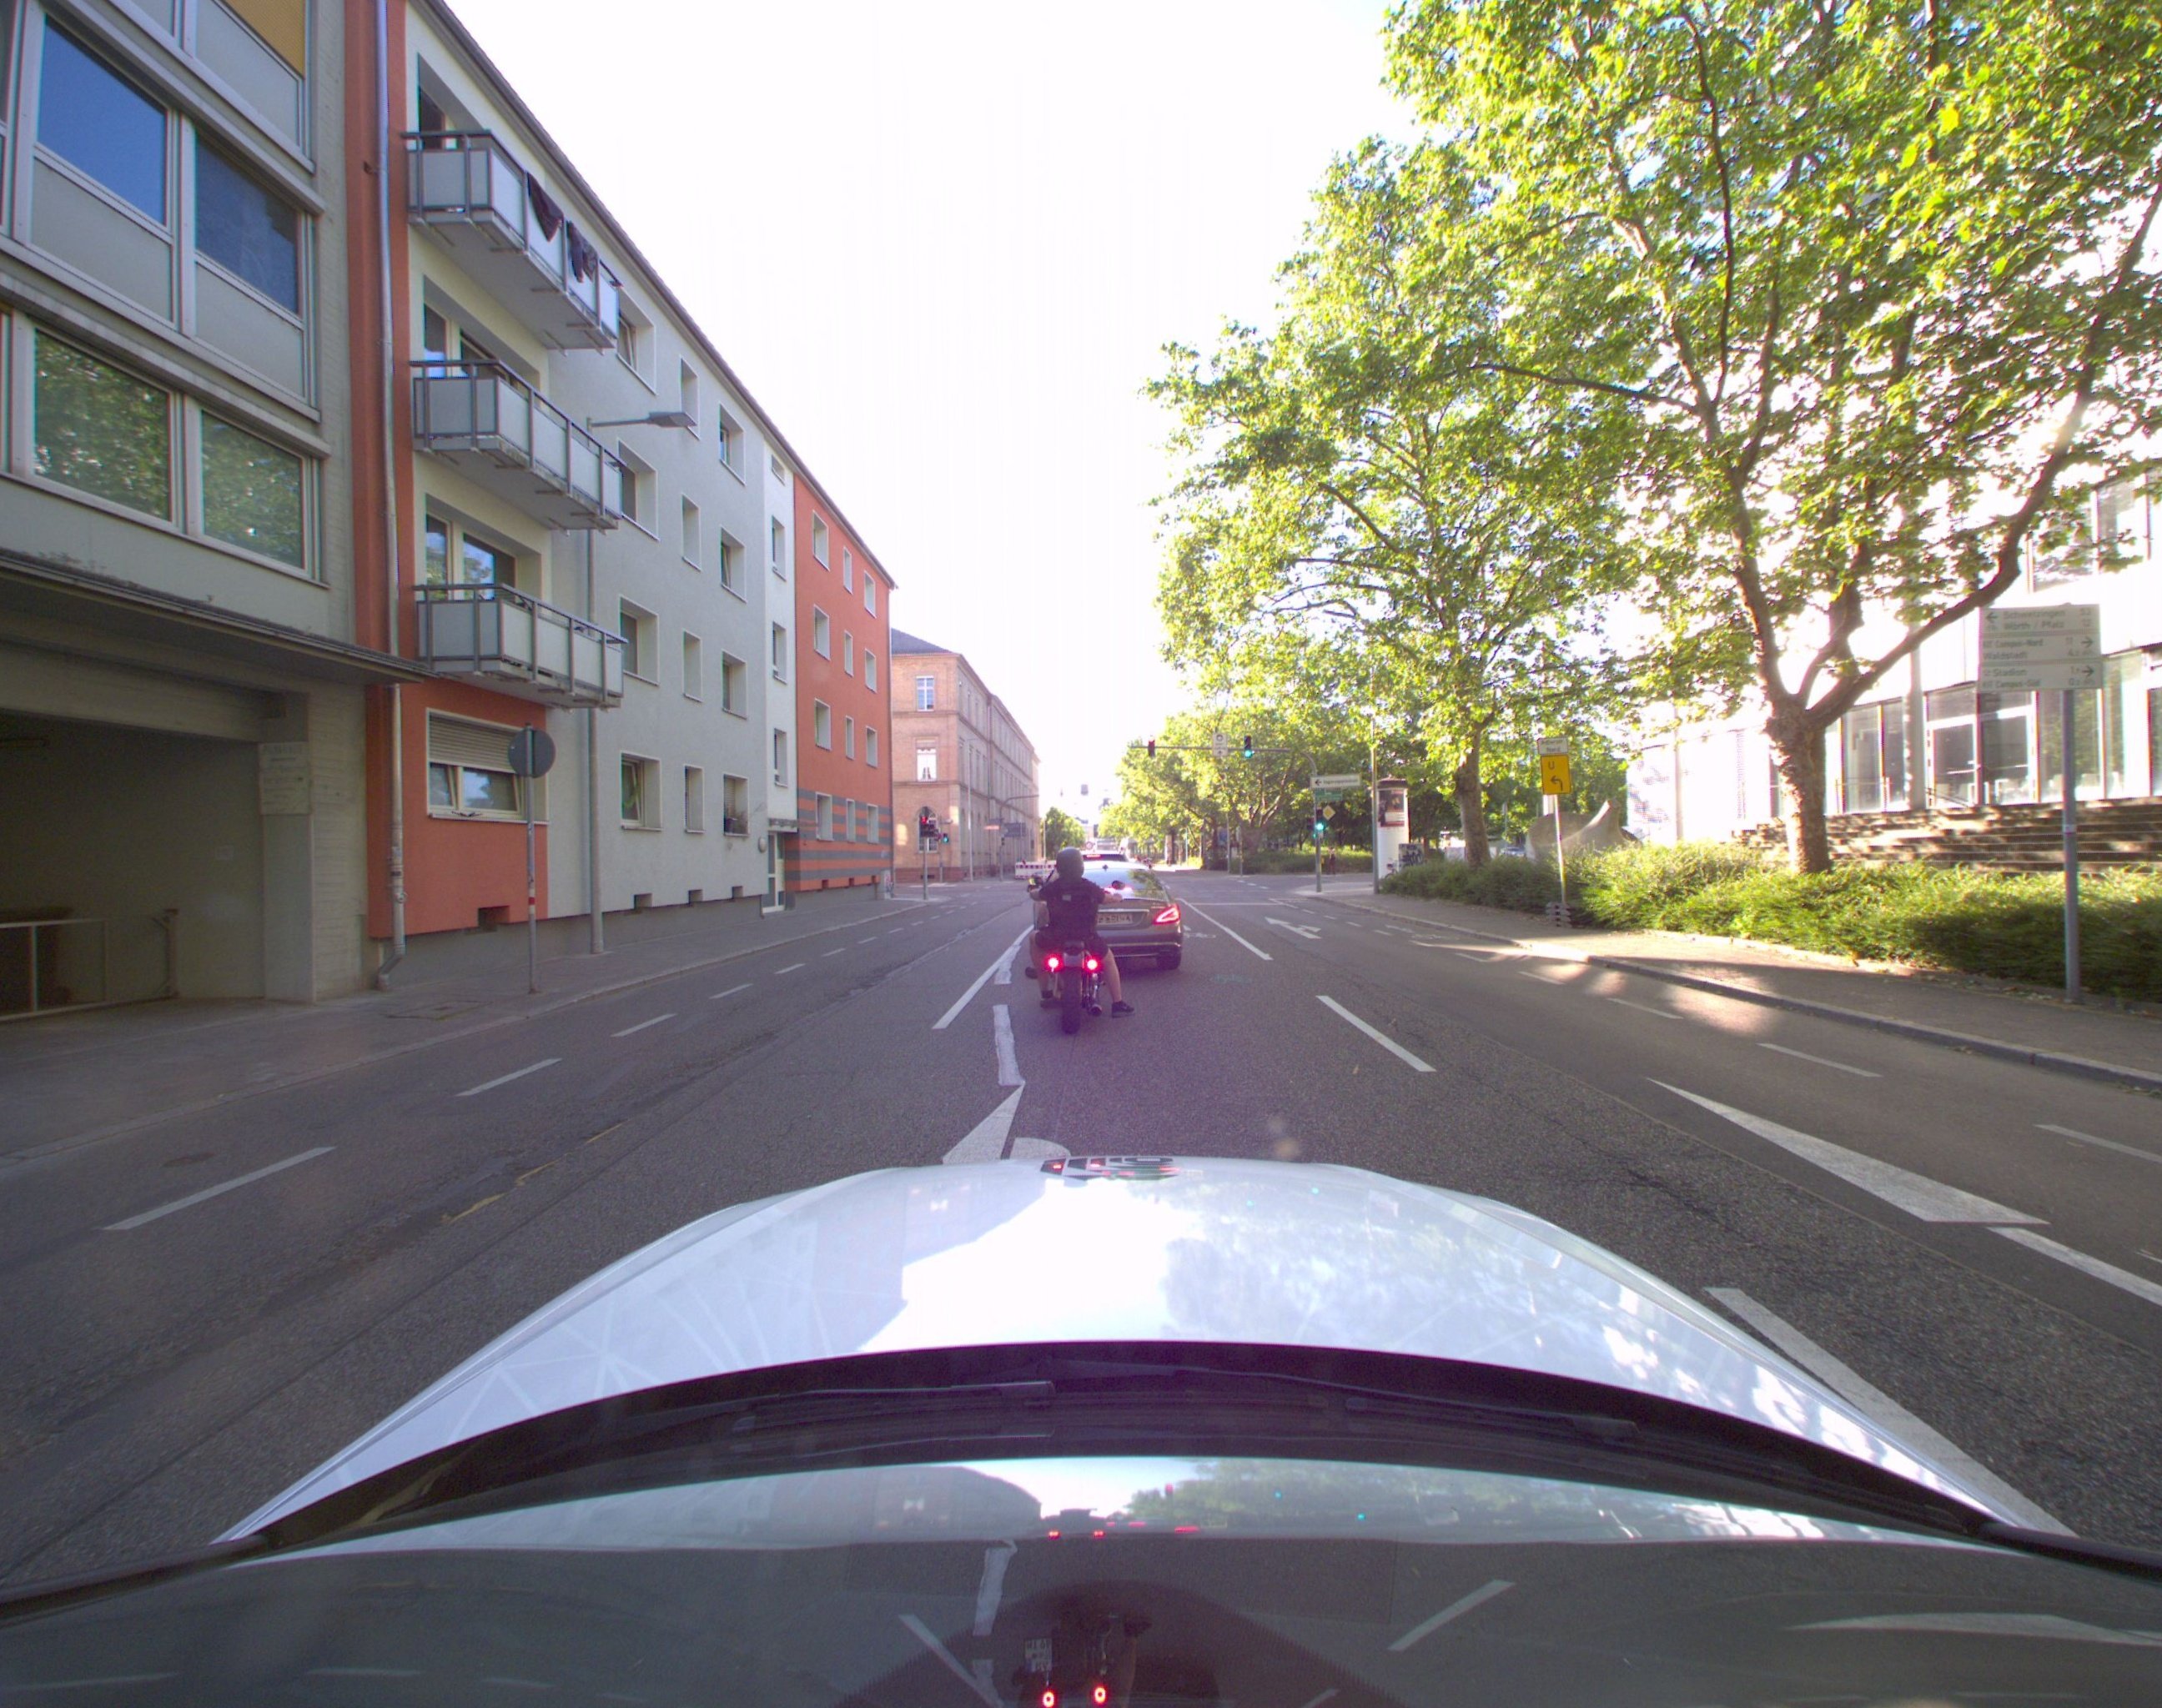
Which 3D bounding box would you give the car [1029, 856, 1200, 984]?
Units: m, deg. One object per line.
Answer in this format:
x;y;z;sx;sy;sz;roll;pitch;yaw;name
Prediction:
0.260;0.772;11.753;1.867;1.444;4.421;-1;0;-6;car

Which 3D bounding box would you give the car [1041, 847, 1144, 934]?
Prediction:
0.286;0.725;17.680;1.986;1.665;4.001;0;-1;2;car

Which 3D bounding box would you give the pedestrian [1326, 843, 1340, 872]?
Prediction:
15.607;0.221;50.394;0.671;1.772;0.621;-1;-1;31;pedestrian

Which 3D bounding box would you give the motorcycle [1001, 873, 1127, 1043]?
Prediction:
-0.096;0.857;7.698;0.977;1.275;2.408;-1;0;2;motorcycle

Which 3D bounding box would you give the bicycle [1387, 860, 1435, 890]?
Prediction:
11.076;0.711;27.331;1.475;0.980;0.300;0;-1;7;bicycle

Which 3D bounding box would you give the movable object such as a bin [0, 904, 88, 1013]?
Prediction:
-11.292;1.092;8.655;0.639;1.065;0.675;-1;0;1;movable object such as a bin

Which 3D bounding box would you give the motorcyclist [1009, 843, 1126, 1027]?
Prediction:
-0.097;0.701;7.671;0.977;1.578;1.249;-1;0;1;motorcyclist
